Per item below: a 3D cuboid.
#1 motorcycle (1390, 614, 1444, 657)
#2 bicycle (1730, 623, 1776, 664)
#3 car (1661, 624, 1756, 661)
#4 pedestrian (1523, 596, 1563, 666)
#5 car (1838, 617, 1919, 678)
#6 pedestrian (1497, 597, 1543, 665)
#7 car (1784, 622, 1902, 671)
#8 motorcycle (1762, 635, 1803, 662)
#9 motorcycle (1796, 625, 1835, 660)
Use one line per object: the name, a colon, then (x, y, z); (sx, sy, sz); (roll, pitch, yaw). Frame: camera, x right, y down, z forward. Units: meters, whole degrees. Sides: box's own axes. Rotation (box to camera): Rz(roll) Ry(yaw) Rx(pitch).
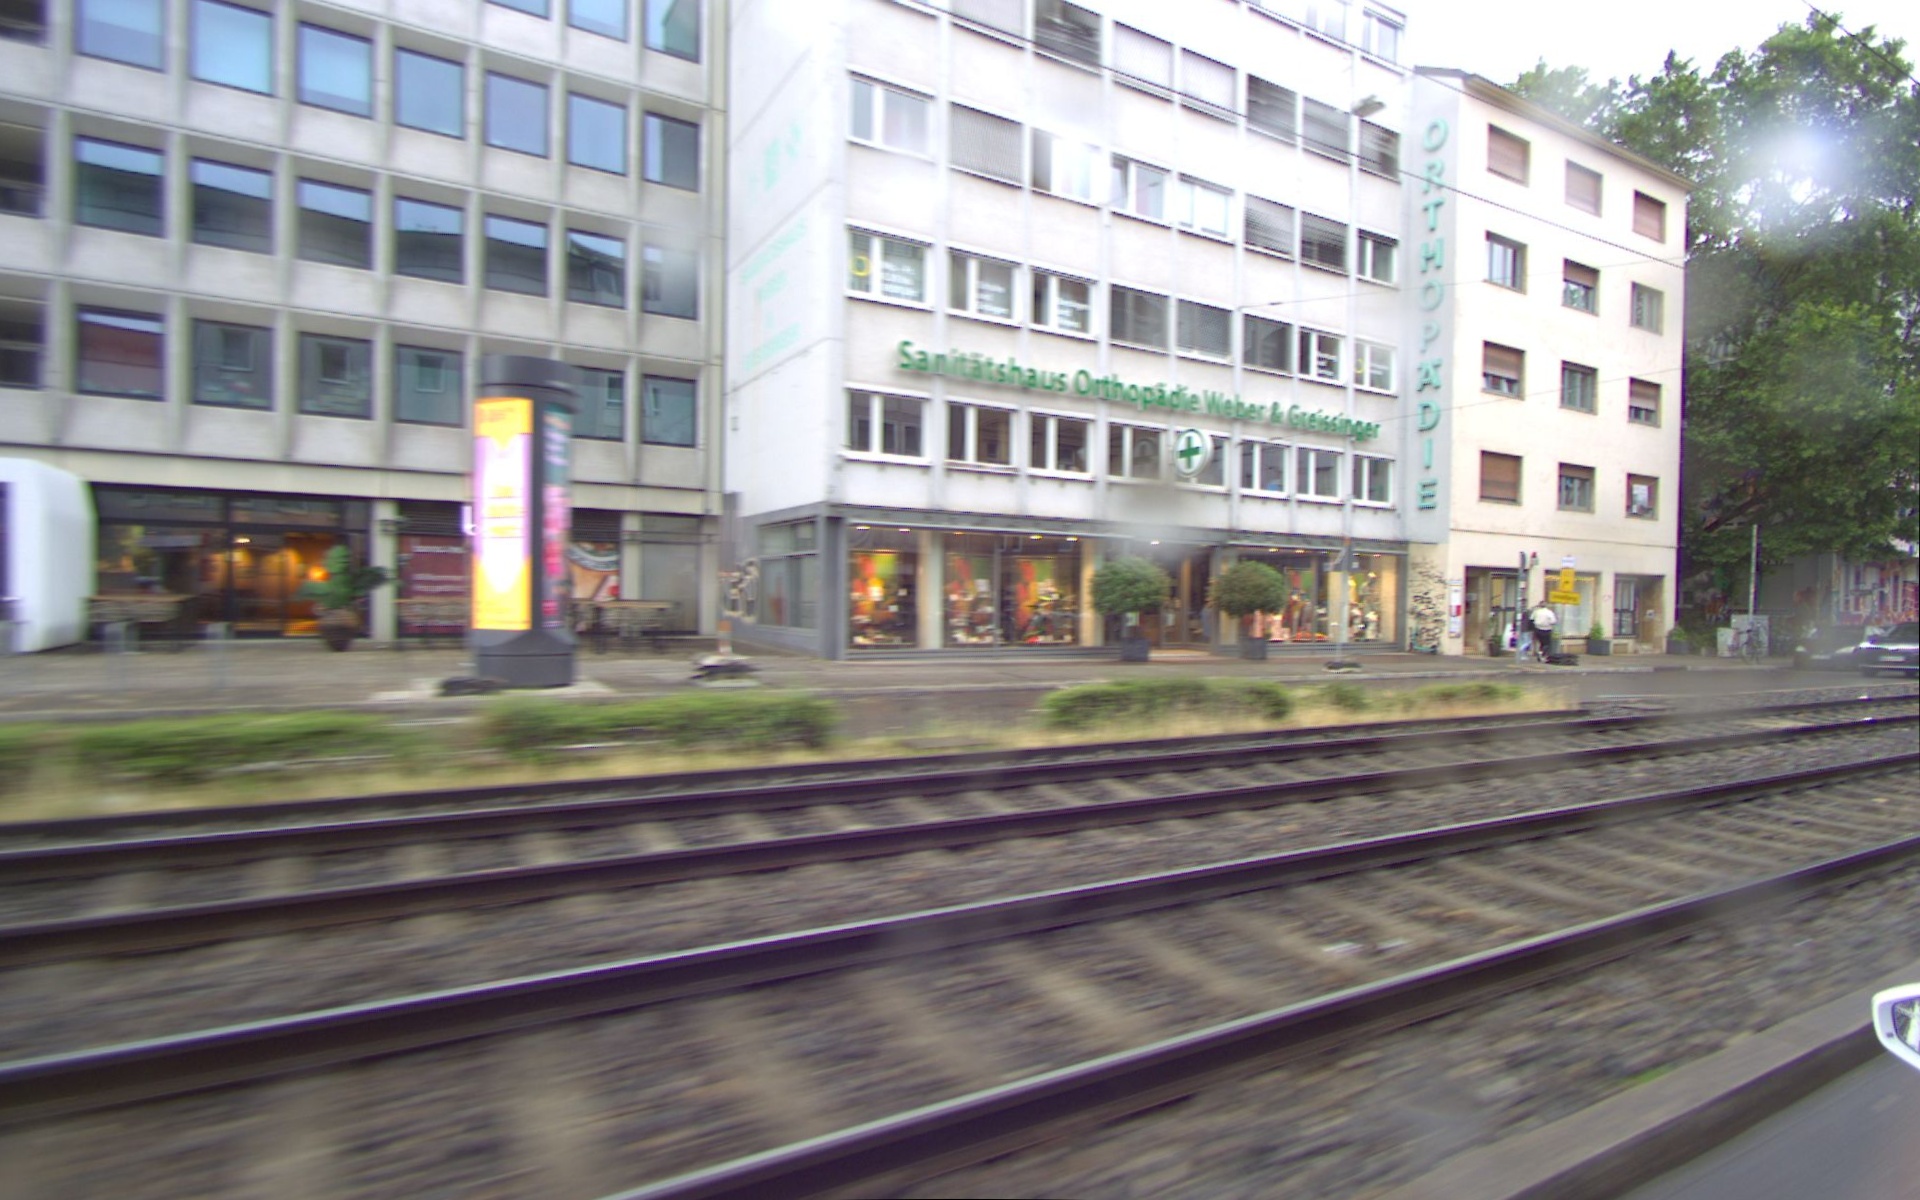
motorcycle: (13.486, 1.041, 29.673); (0.381, 1.195, 1.469); (1, 0, -31)
bicycle: (25.704, 1.405, 32.546); (2.382, 1.243, 0.586); (2, 0, -38)
car: (32.123, 1.797, 43.105); (3.955, 1.474, 1.983); (1, -1, -32)
pedestrian: (16.515, 0.875, 28.471); (0.734, 1.921, 0.675); (2, 0, -31)
car: (26.524, 1.308, 27.871); (4.393, 1.539, 1.983); (1, 0, -31)
pedestrian: (16.300, 0.902, 29.238); (0.971, 1.921, 0.723); (2, 0, -31)
car: (28.807, 1.483, 32.750); (4.171, 1.488, 1.735); (1, -1, -31)
motorcycle: (33.393, 1.957, 40.765); (2.096, 1.046, 0.635); (1, 0, -33)
motorcycle: (35.753, 1.779, 41.965); (2.096, 1.398, 0.635); (1, 0, -33)
